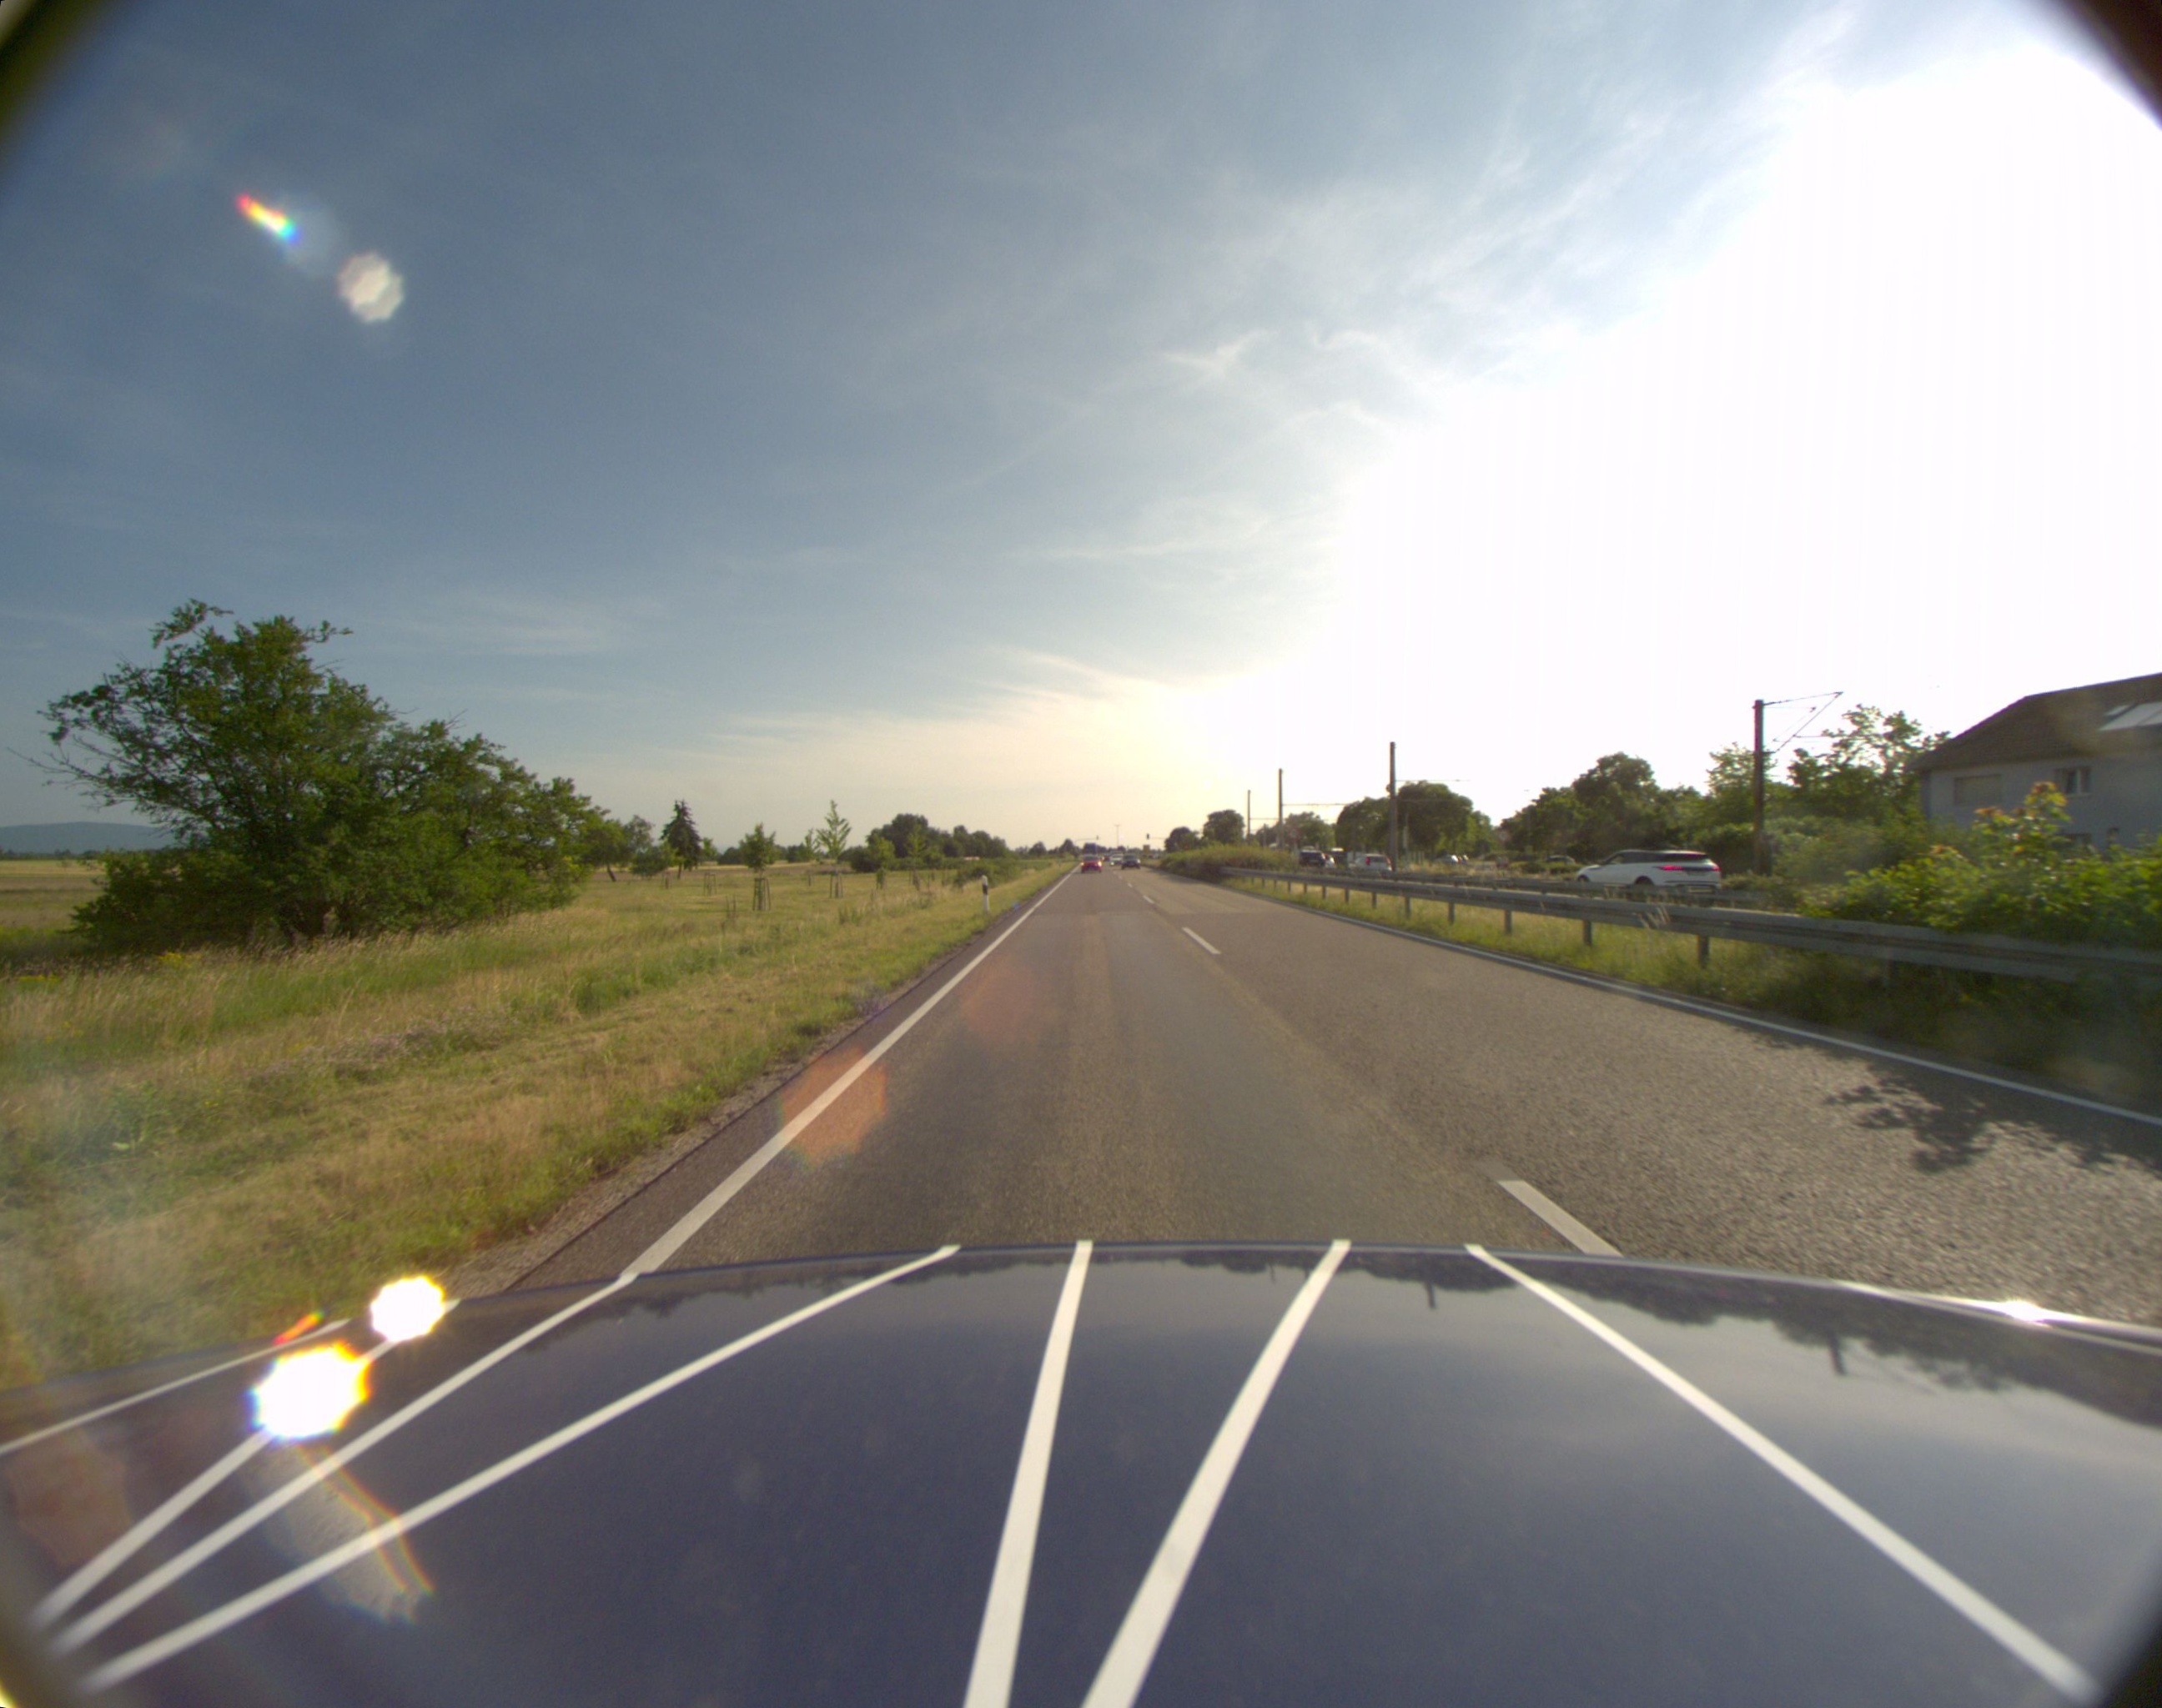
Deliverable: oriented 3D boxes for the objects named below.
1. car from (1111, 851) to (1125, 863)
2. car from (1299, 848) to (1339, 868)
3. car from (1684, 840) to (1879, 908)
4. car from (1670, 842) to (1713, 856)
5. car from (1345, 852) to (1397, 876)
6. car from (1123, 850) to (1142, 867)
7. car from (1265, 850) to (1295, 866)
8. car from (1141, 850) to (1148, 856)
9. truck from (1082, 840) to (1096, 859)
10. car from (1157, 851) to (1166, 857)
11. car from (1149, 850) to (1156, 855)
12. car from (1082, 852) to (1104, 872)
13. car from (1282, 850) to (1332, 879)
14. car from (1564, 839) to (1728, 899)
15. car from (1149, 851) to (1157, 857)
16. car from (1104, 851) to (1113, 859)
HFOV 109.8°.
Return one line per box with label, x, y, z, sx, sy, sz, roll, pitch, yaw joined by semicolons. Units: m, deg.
car;4.654;0.401;95.165;1.636;1.442;4.000;-2;0;1
car;17.329;0.305;55.466;1.733;1.358;3.622;2;0;1
car;20.209;0.518;22.209;1.998;1.739;4.000;-2;0;1
car;66.232;-0.536;82.470;3.611;1.358;1.739;2;1;38
car;17.531;0.573;46.115;1.733;1.358;3.622;2;0;1
car;4.947;0.393;73.838;1.636;1.500;4.000;-2;0;1
car;17.685;0.349;67.663;1.733;1.358;3.622;2;0;1
car;20.001;-0.337;238.398;1.801;1.580;4.000;1;0;1
truck;1.811;-0.932;167.739;2.849;3.896;10.104;-2;0;1
car;19.587;-0.052;184.182;1.664;1.407;4.975;1;0;1
car;20.661;-0.490;219.945;1.664;1.373;4.000;1;0;1
car;1.017;0.641;63.100;1.735;1.467;4.000;-2;0;1
car;13.615;0.586;46.064;1.733;1.624;4.319;2;0;1
car;17.037;0.398;23.236;1.719;1.602;4.446;-2;0;1
car;19.092;0.002;200.727;1.664;1.373;4.468;1;0;1
car;5.457;0.139;148.898;1.636;1.442;4.000;-2;0;1
